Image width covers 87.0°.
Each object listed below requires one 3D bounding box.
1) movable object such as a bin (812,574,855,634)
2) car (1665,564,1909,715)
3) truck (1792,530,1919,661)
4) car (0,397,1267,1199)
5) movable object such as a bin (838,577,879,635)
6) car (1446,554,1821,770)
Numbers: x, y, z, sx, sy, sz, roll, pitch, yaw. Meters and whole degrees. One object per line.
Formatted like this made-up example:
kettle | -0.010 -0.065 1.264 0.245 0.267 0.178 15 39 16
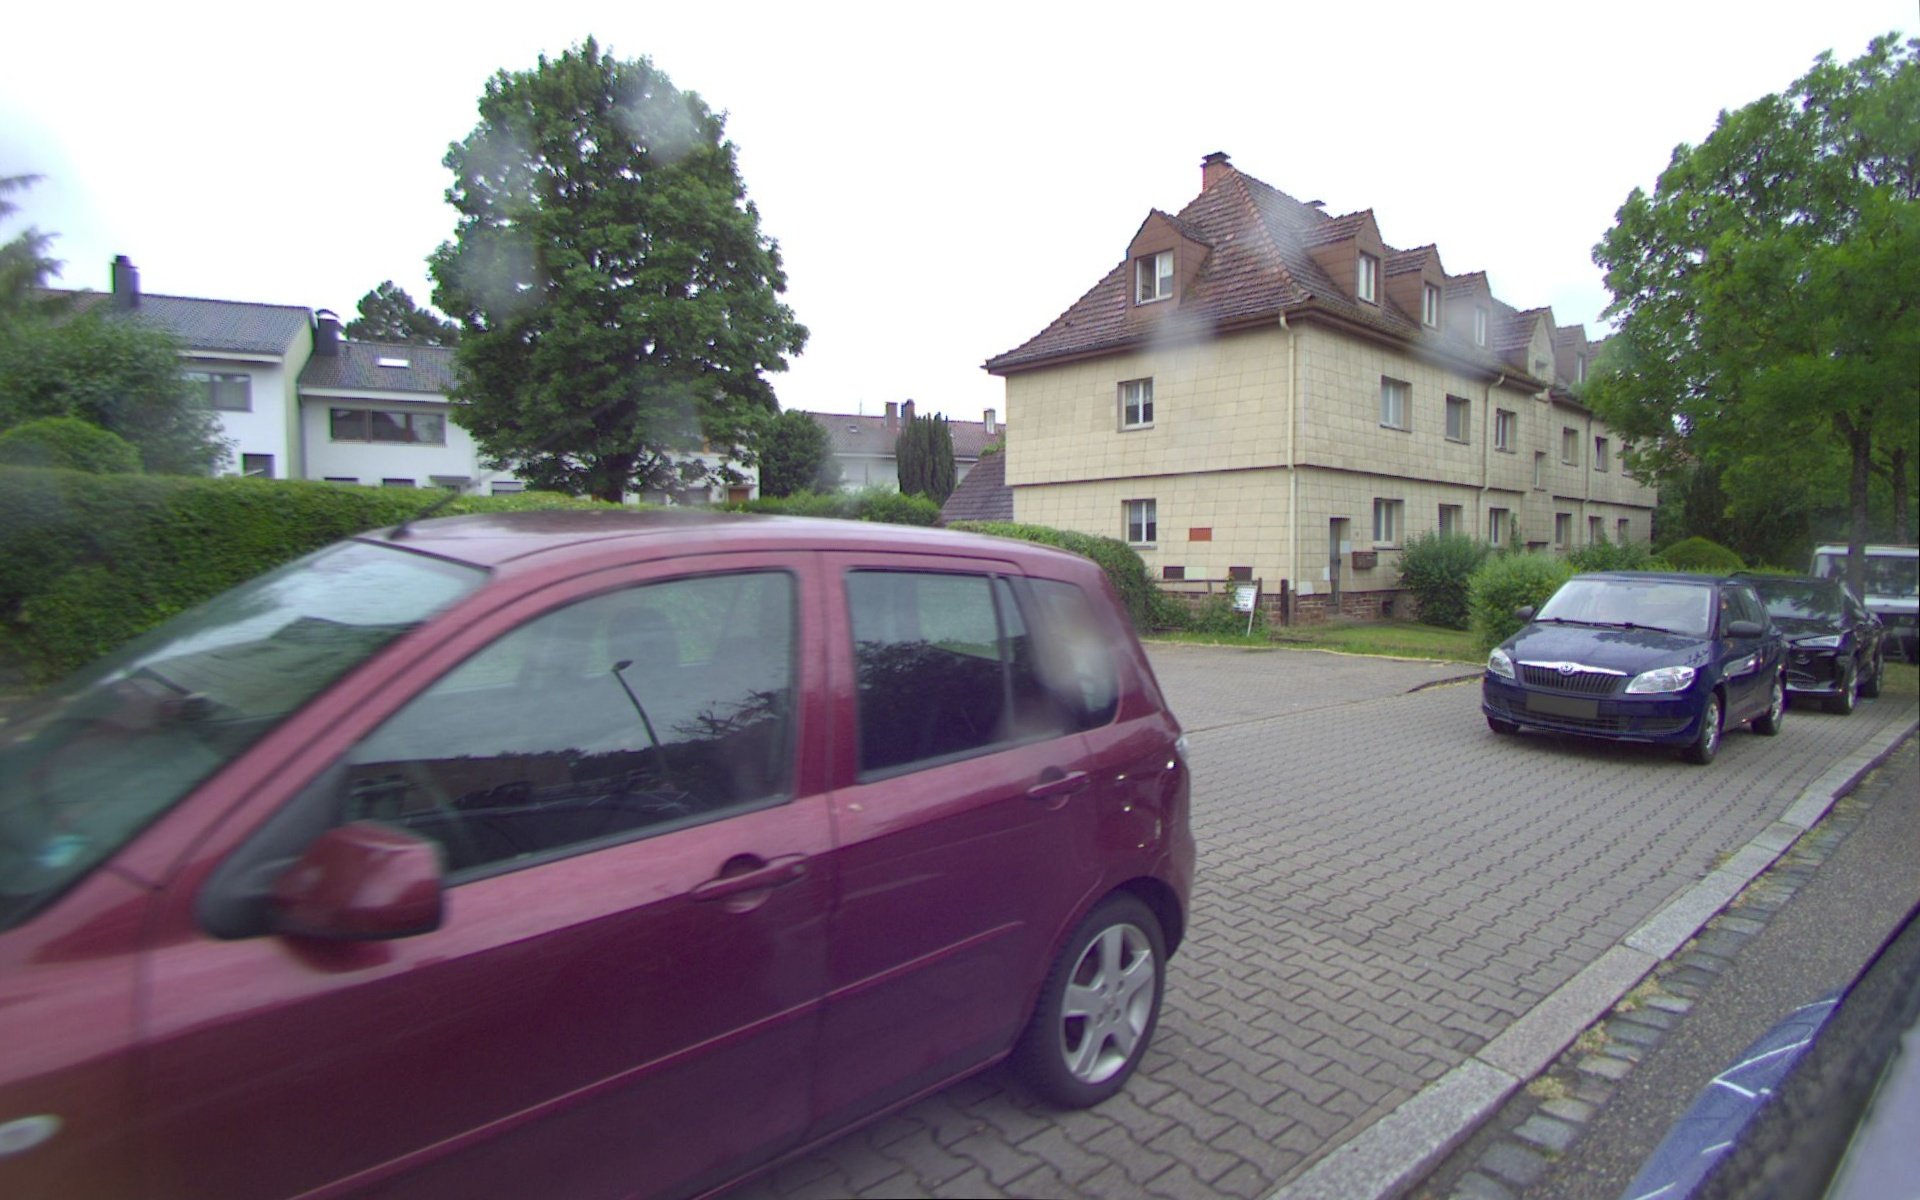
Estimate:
movable object such as a bin | -2.063 0.061 16.477 0.539 0.954 0.441 0 1 45
car | 10.189 0.340 12.374 3.933 1.481 1.718 -2 5 -43
truck | 18.026 -0.131 19.554 5.654 2.224 1.998 -1 2 -40
car | -0.969 0.488 2.353 3.696 1.522 1.611 -4 3 -44
movable object such as a bin | -1.689 0.094 16.833 0.539 0.954 0.441 0 1 45
car | 6.034 0.356 8.896 3.931 1.441 1.719 -2 4 -41
